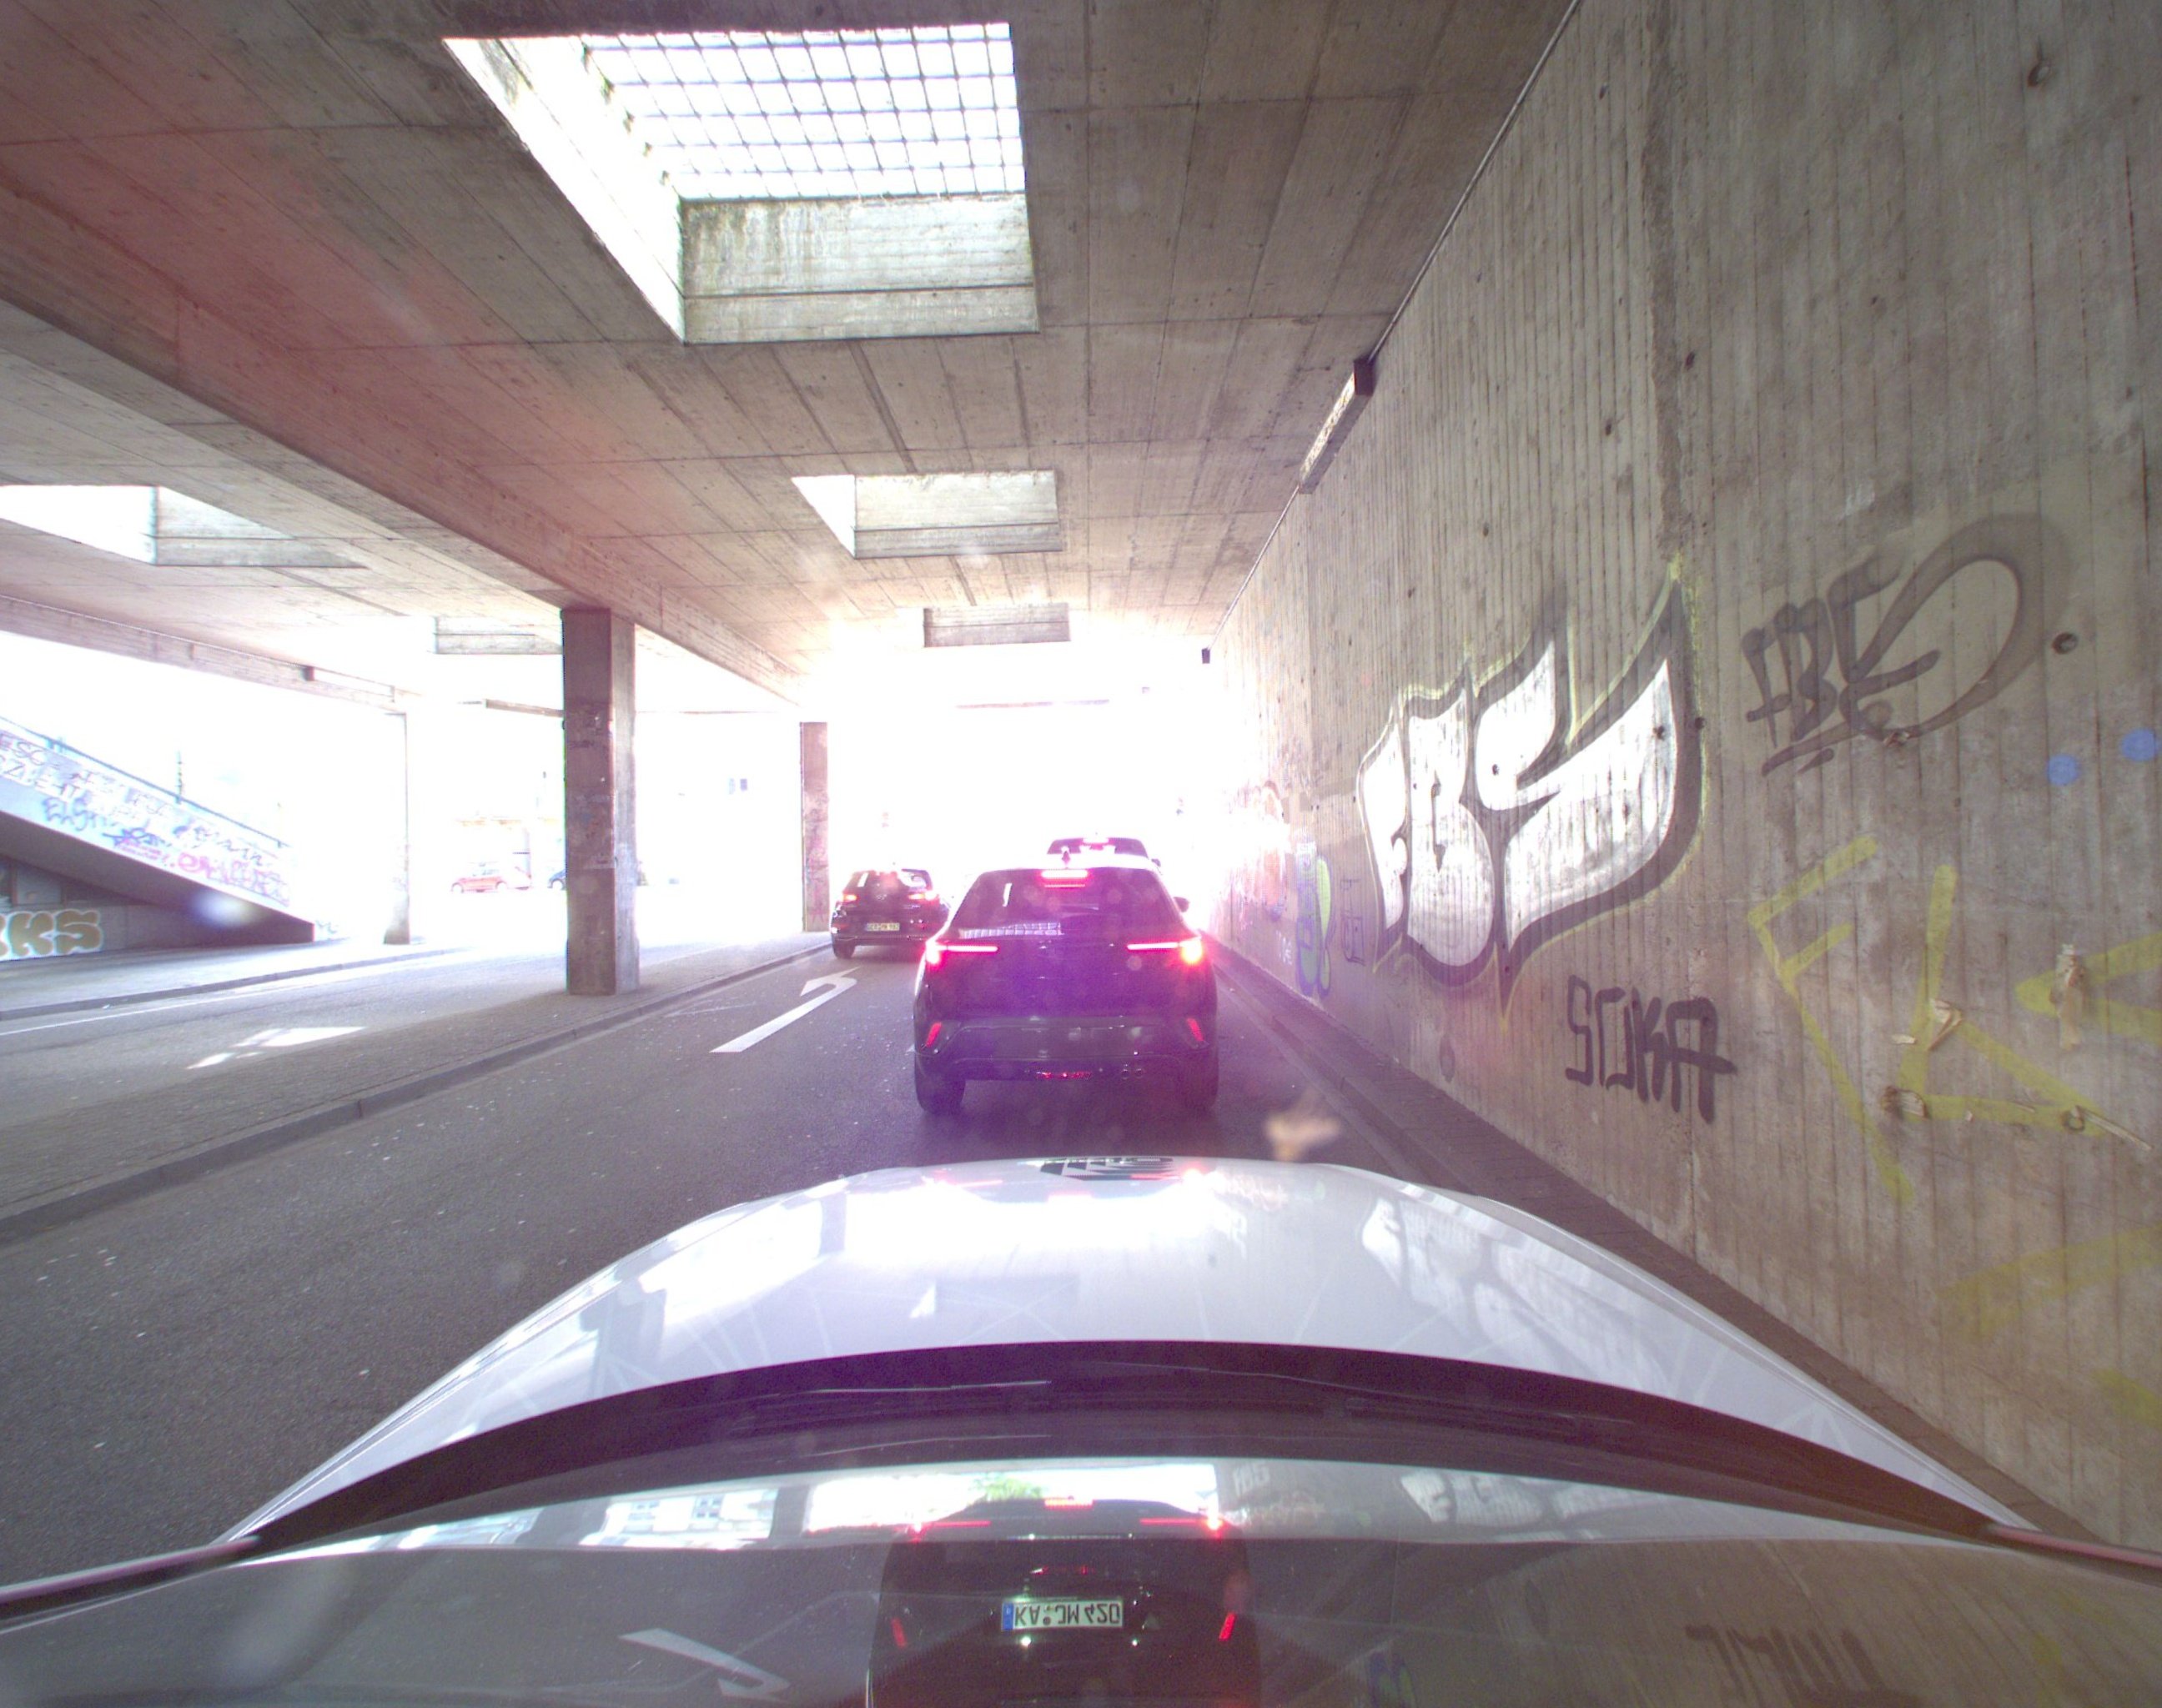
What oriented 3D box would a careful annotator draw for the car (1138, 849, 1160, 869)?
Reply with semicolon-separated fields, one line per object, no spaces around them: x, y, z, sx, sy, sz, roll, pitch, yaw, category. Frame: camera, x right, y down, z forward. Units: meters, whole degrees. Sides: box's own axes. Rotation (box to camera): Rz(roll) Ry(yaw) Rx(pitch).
5.756;0.424;68.342;1.745;1.667;3.950;0;-1;6;car

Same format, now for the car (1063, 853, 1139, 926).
0.487;0.763;19.369;1.603;1.513;4.055;-1;0;2;car

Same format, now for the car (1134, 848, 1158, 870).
4.967;0.380;62.238;1.745;1.667;3.950;0;-1;6;car

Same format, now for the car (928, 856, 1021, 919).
-2.665;0.796;21.199;1.755;1.480;3.846;-1;0;2;car

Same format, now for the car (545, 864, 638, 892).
-27.175;1.311;45.281;4.096;1.475;1.737;-1;-1;0;car

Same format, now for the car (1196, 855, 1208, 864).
21.910;0.955;147.337;1.742;1.667;3.958;0;-1;13;car

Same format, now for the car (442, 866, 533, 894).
-32.931;1.431;45.259;3.748;1.475;1.749;-1;-1;0;car

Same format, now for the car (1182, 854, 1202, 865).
18.796;0.930;137.655;1.800;1.667;4.845;-1;-1;29;car

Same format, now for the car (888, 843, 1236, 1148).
-0.035;0.728;6.212;1.755;1.531;4.091;-1;0;2;car

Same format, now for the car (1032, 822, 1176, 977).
0.351;0.568;12.151;1.755;1.883;4.148;-1;0;2;car

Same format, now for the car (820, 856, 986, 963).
-2.755;0.800;13.471;1.755;1.480;3.846;-1;0;2;car
